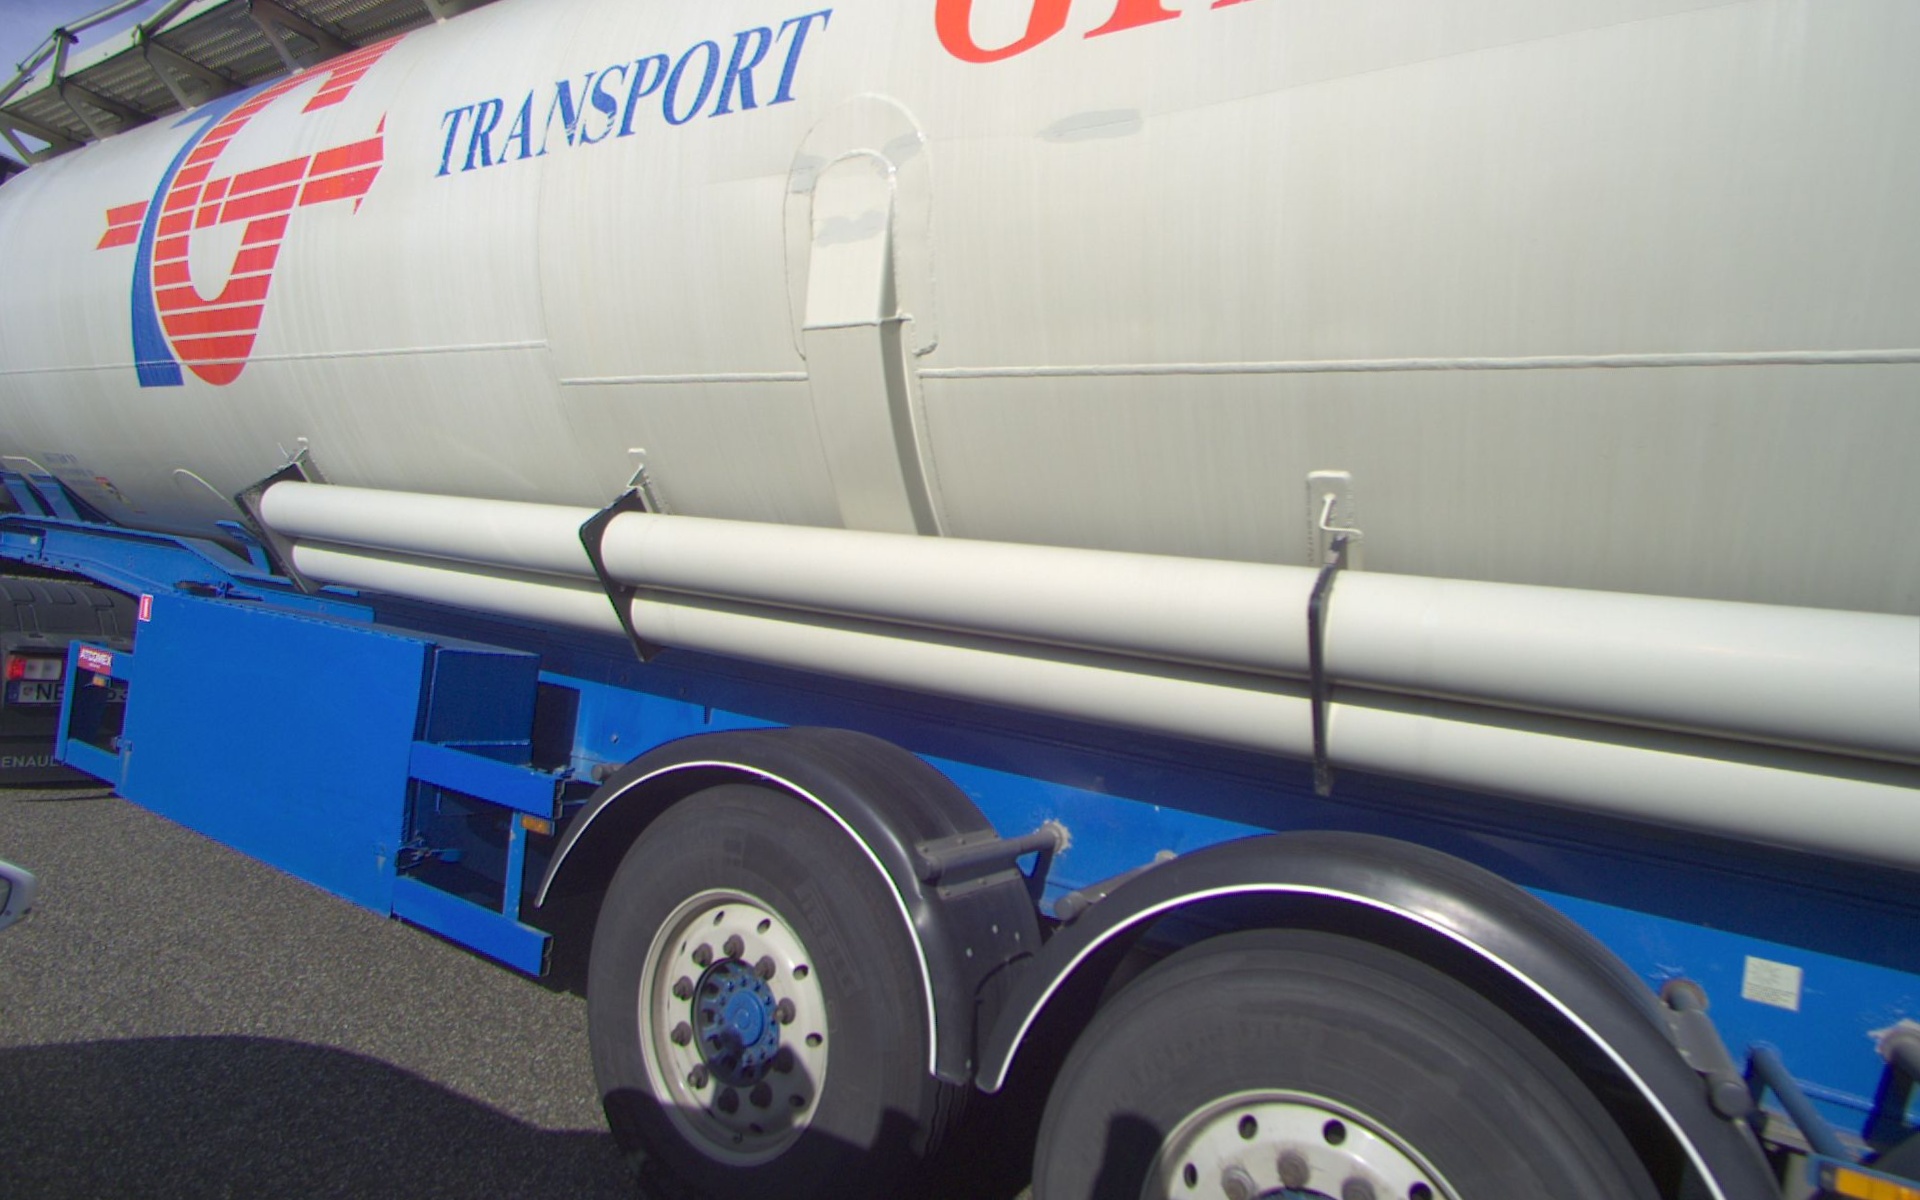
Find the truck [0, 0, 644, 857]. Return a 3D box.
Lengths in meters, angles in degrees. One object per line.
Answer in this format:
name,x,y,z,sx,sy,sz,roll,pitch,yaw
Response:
truck,-5.815,-1.094,7.104,6.828,3.971,2.653,6,-1,32

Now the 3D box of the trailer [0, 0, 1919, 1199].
trailer,-0.107,-0.505,3.463,10.991,3.980,2.650,6,-2,32

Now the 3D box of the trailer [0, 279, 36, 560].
trailer,-18.451,-2.646,15.366,13.752,4.146,2.646,6,-1,33
